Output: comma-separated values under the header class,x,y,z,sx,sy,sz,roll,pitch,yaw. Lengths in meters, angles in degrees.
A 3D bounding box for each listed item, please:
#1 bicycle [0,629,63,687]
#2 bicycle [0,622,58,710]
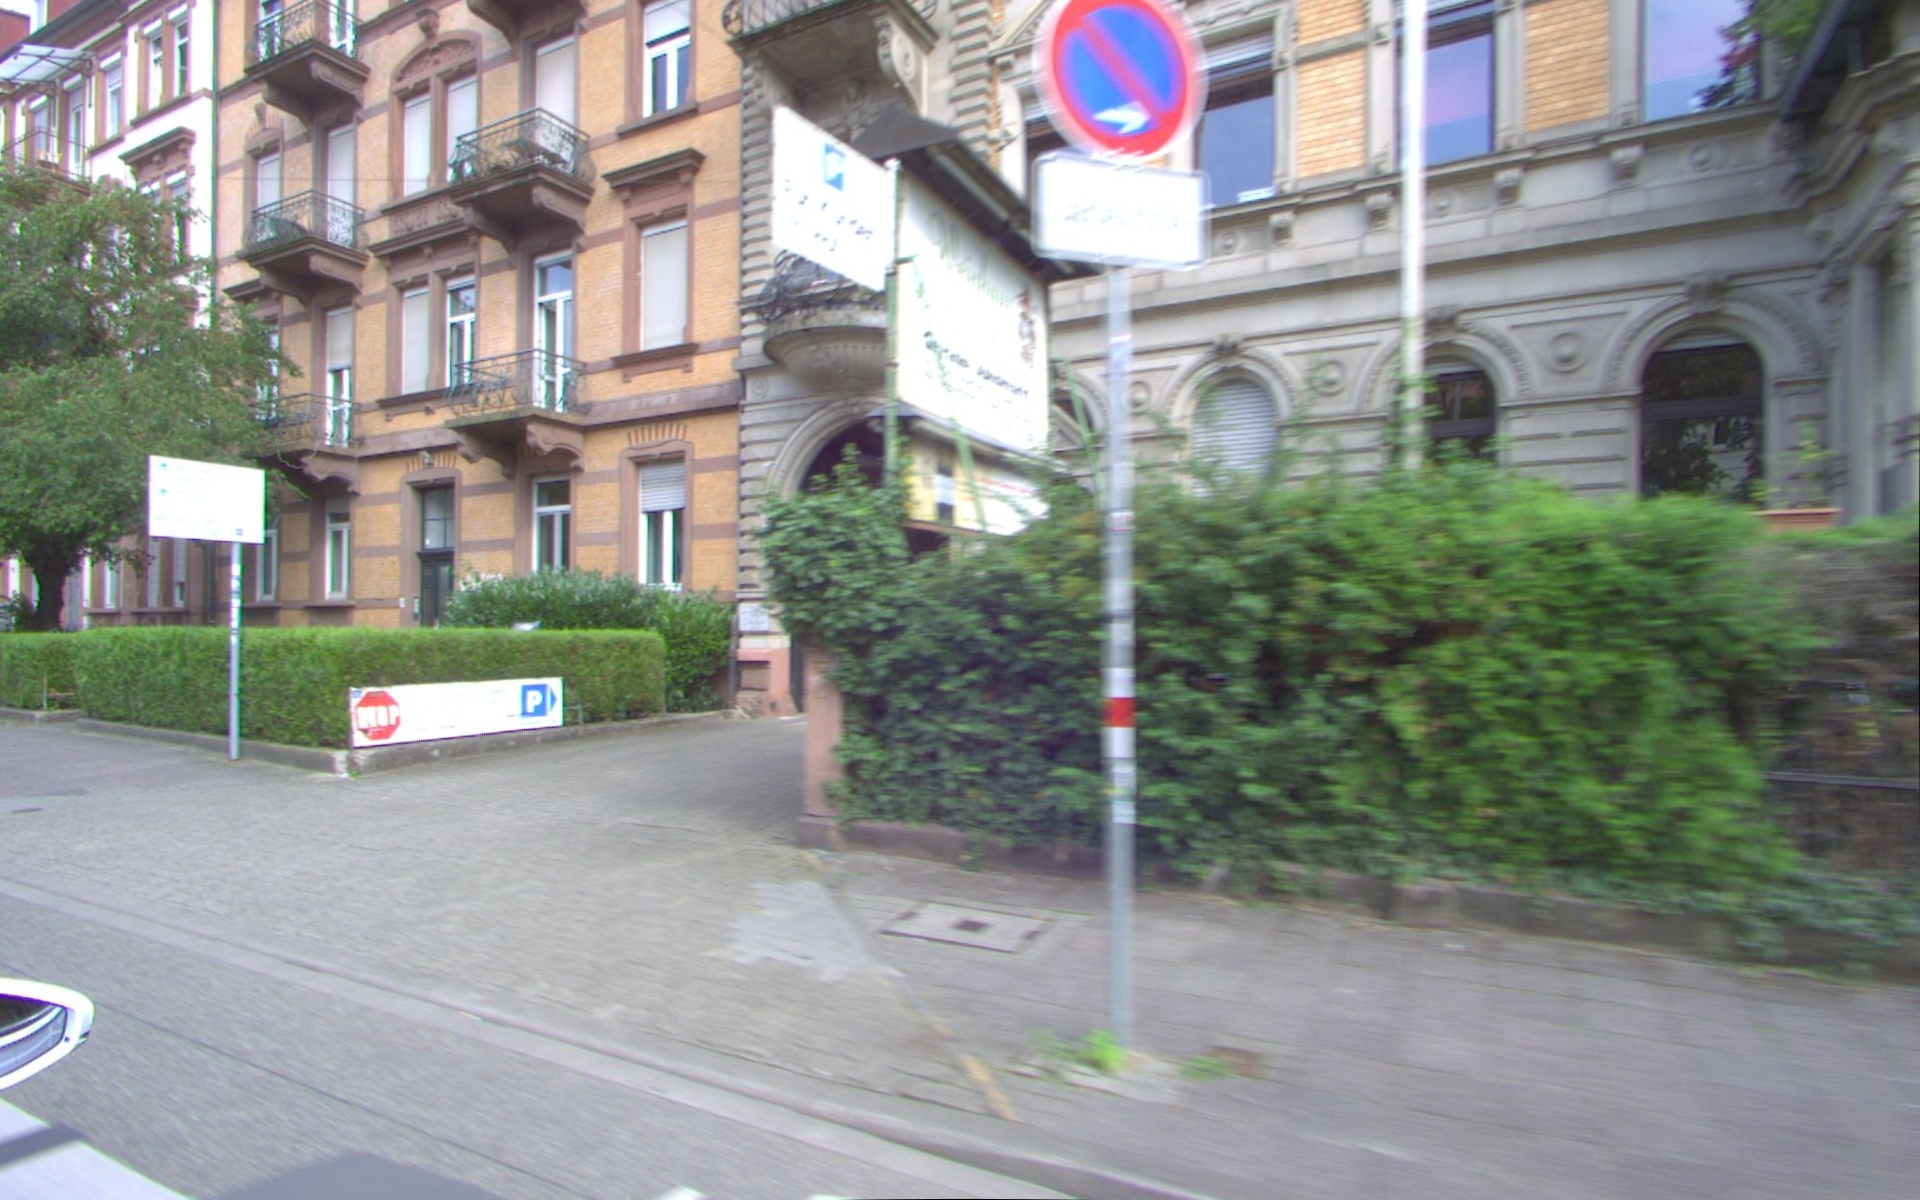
class,x,y,z,sx,sy,sz,roll,pitch,yaw
bicycle,-17.210,1.038,17.986,0.502,1.021,1.545,0,-1,27
bicycle,-14.520,0.993,15.417,1.527,1.298,0.515,0,-1,31
